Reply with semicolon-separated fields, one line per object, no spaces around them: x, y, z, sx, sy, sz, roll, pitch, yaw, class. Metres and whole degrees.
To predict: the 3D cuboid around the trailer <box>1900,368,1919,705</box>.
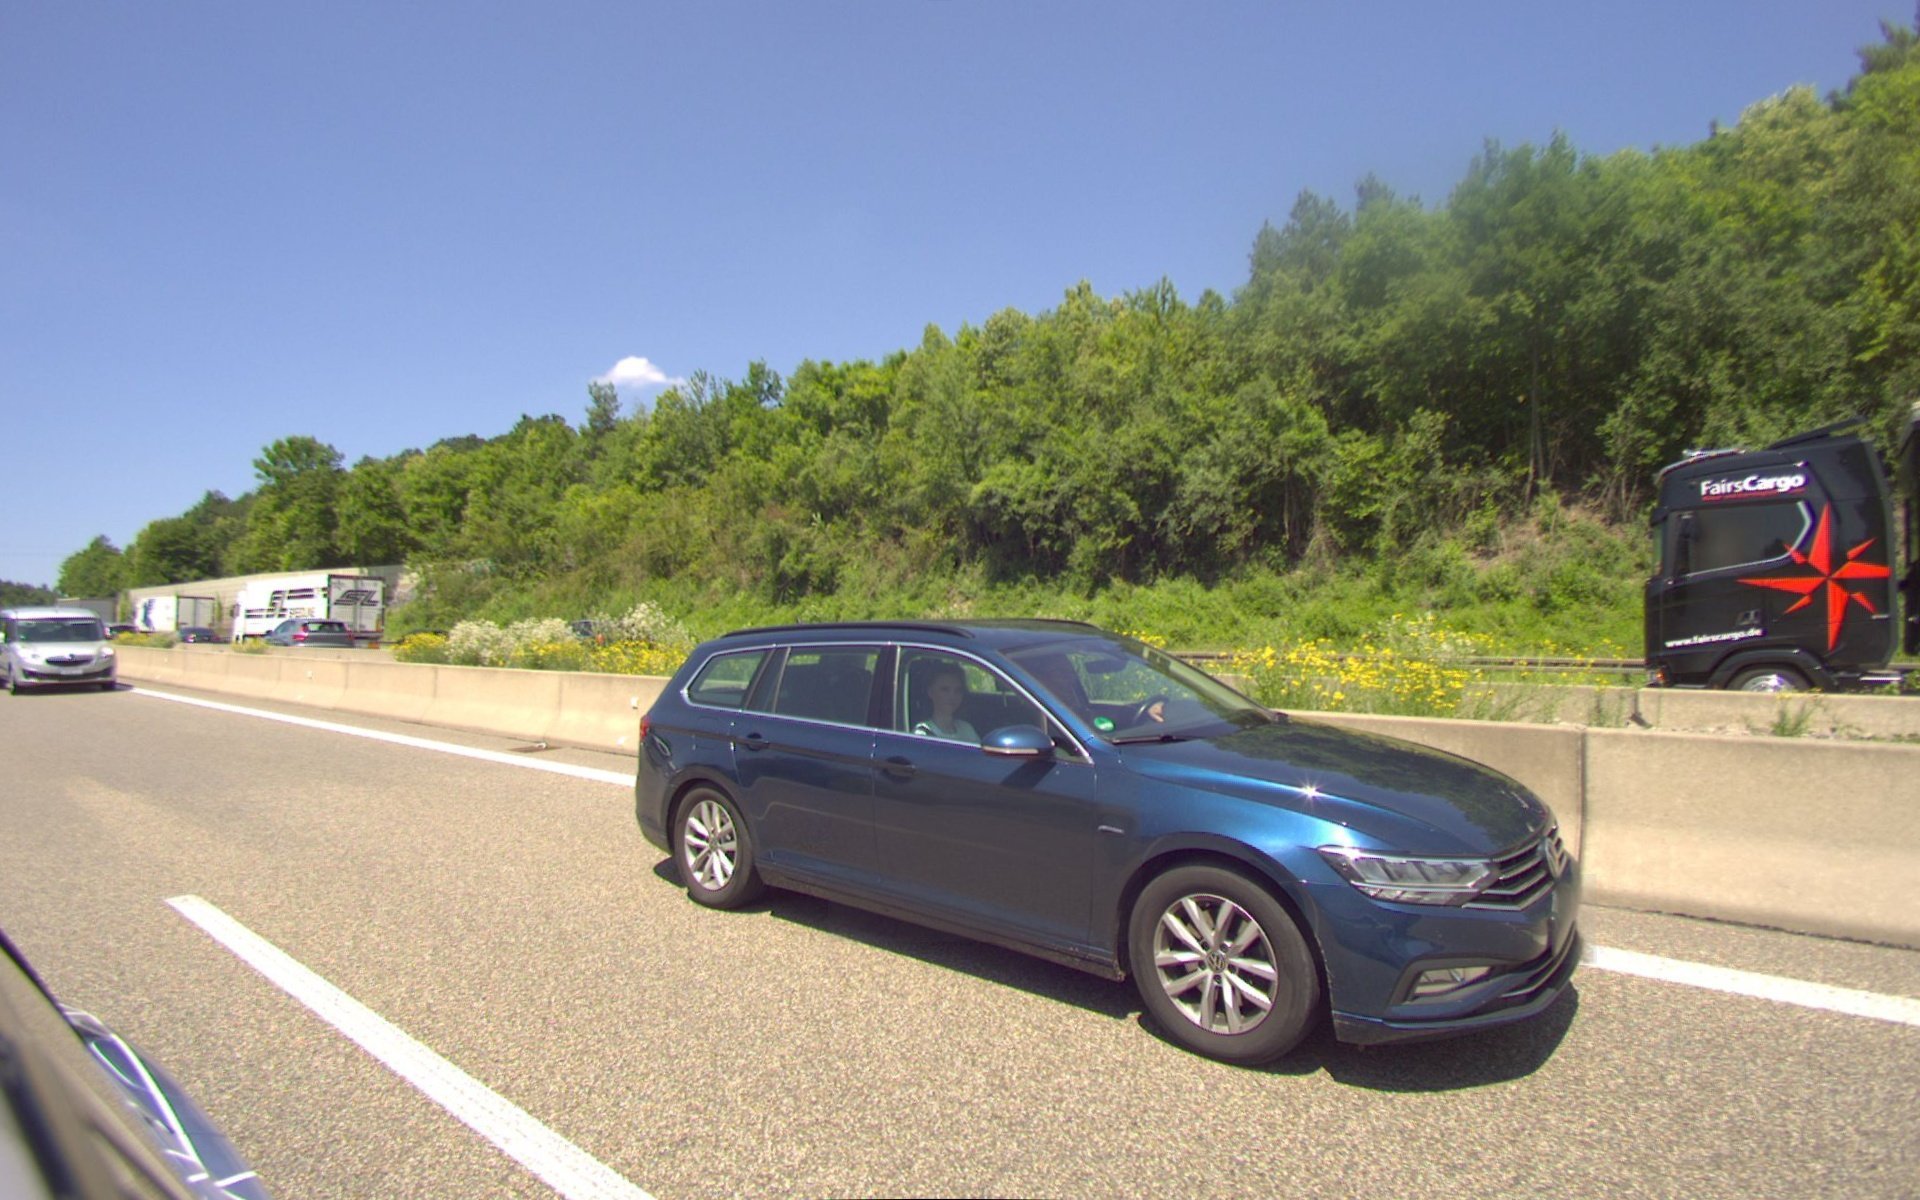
17.507;-0.755;8.516;13.880;4.004;2.876;-1;-3;41;trailer

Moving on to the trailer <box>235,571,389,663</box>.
-34.896;0.916;54.078;14.025;4.371;2.774;-1;-2;40;trailer

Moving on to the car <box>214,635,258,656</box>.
-53.229;3.302;74.359;4.187;1.478;1.649;-1;-2;41;car

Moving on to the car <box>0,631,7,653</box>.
-85.816;3.671;89.359;5.033;1.861;1.892;-1;-3;41;car

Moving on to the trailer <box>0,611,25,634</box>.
-175.454;4.138;186.961;13.825;3.938;2.782;-1;-3;43;trailer

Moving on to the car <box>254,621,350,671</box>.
-21.394;1.483;32.854;3.997;1.530;1.547;-2;-3;41;car

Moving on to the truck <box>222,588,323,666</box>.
-39.443;1.513;57.966;7.594;4.197;2.774;-1;-2;41;truck

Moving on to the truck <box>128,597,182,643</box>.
-73.227;1.848;92.059;5.081;4.078;2.778;-1;-3;40;truck

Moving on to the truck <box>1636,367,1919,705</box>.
13.091;-0.715;12.353;7.764;4.004;2.876;-1;-3;41;truck

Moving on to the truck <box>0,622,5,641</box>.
-142.111;4.494;147.926;11.622;2.709;2.501;-1;-3;41;truck

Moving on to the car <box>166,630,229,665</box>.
-42.239;2.605;56.011;4.728;1.790;1.767;-1;-3;41;car

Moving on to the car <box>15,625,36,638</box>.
-145.204;4.848;157.201;3.998;2.029;1.973;-2;-1;41;car

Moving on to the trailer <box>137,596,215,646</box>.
-68.098;1.848;87.729;12.619;4.078;2.778;-1;-3;41;trailer

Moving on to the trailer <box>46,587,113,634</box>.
-85.289;1.090;97.870;14.732;4.197;2.805;-1;-3;41;trailer

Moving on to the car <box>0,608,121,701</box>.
-20.085;1.147;22.342;3.998;1.858;1.758;-2;-2;41;car

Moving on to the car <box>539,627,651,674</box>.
-11.507;1.571;31.839;3.997;1.377;1.547;-2;-3;41;car

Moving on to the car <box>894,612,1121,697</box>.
0.782;0.954;18.242;3.997;1.377;1.547;-2;-3;41;car

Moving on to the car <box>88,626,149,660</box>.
-47.695;2.421;57.327;4.785;1.769;1.864;-1;-3;41;car

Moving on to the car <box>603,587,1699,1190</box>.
0.388;0.766;4.654;4.727;1.438;1.714;-1;-3;41;car
